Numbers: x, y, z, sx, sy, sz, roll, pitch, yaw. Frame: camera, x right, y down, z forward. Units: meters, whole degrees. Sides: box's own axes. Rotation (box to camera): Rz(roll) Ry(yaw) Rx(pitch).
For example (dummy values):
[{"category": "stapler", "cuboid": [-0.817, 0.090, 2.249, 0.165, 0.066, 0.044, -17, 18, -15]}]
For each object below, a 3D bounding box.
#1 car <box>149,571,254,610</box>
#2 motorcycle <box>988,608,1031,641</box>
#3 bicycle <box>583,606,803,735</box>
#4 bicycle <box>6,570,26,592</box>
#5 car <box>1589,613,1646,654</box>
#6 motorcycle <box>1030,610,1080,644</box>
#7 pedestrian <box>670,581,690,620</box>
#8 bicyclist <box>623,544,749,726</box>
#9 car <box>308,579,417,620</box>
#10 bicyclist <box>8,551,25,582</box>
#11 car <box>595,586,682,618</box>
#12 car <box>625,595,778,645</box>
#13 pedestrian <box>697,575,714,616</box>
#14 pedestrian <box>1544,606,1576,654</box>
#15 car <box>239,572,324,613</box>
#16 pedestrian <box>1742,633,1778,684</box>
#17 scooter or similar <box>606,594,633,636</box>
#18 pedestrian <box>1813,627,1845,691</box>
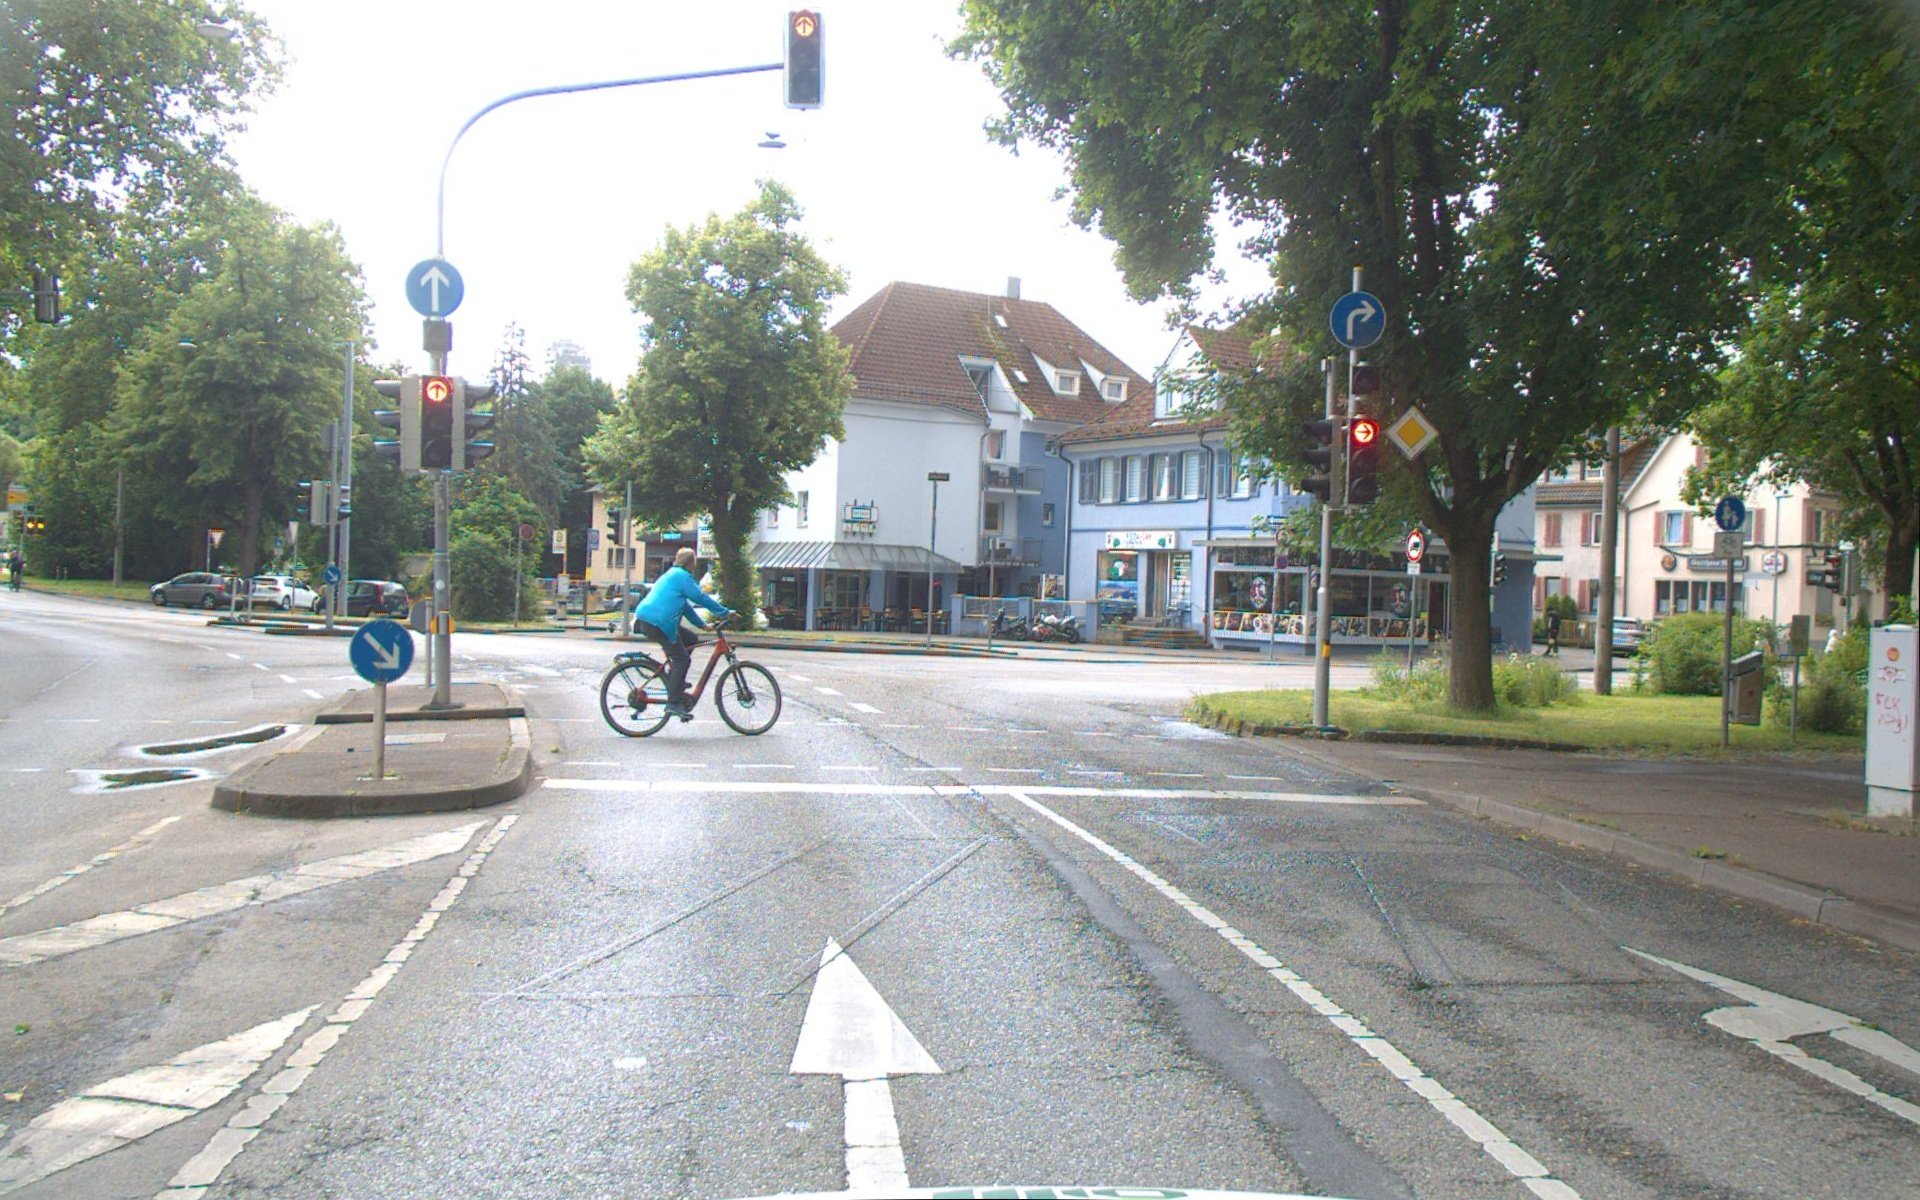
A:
[{"category": "car", "cuboid": [-31.157, -0.394, 67.975, 3.693, 1.491, 1.622, 1, 0, 13]}, {"category": "motorcycle", "cuboid": [1.724, 0.842, 57.775, 1.428, 1.107, 0.523, 1, 0, 30]}, {"category": "bicycle", "cuboid": [-2.560, 0.661, 15.880, 1.921, 1.169, 0.870, 1, 0, -25]}, {"category": "bicycle", "cuboid": [-42.752, -0.847, 74.906, 0.552, 0.975, 2.007, 1, 0, -36]}, {"category": "car", "cuboid": [24.403, 1.235, 61.364, 1.847, 1.415, 3.613, 1, 0, 23]}, {"category": "motorcycle", "cuboid": [3.227, 0.906, 56.159, 1.593, 1.107, 0.626, 1, 0, 26]}, {"category": "pedestrian", "cuboid": [-14.714, 0.012, 86.932, 0.825, 2.049, 1.050, 1, 0, -20]}, {"category": "bicyclist", "cuboid": [-2.637, 0.326, 15.842, 0.972, 1.680, 0.911, 1, 0, -24]}, {"category": "car", "cuboid": [-21.199, -0.024, 58.708, 3.249, 1.376, 1.780, 1, 0, 21]}, {"category": "bicyclist", "cuboid": [-42.686, -1.501, 74.825, 0.536, 1.365, 0.705, 1, 0, -37]}, {"category": "car", "cuboid": [-15.845, 0.101, 81.495, 3.888, 1.467, 1.738, 1, 0, -26]}, {"category": "car", "cuboid": [-8.190, 0.607, 52.313, 4.611, 1.435, 1.899, 1, 0, 30]}, {"category": "pedestrian", "cuboid": [-10.078, -0.172, 65.527, 0.531, 1.587, 0.468, 1, -1, 8]}, {"category": "pedestrian", "cuboid": [20.097, 1.007, 55.407, 0.661, 1.587, 0.742, 1, -1, -20]}, {"category": "car", "cuboid": [-29.152, -0.310, 71.154, 1.821, 1.668, 3.757, 1, 0, 5]}, {"category": "pedestrian", "cuboid": [17.588, 1.280, 36.373, 0.497, 1.100, 0.513, 1, -1, -20]}, {"category": "scooter or similar", "cuboid": [-10.072, 0.437, 48.952, 0.433, 1.195, 1.438, 1, 0, 3]}, {"category": "pedestrian", "cuboid": [21.877, 1.477, 41.639, 0.680, 1.587, 0.666, 1, -1, 25]}]
